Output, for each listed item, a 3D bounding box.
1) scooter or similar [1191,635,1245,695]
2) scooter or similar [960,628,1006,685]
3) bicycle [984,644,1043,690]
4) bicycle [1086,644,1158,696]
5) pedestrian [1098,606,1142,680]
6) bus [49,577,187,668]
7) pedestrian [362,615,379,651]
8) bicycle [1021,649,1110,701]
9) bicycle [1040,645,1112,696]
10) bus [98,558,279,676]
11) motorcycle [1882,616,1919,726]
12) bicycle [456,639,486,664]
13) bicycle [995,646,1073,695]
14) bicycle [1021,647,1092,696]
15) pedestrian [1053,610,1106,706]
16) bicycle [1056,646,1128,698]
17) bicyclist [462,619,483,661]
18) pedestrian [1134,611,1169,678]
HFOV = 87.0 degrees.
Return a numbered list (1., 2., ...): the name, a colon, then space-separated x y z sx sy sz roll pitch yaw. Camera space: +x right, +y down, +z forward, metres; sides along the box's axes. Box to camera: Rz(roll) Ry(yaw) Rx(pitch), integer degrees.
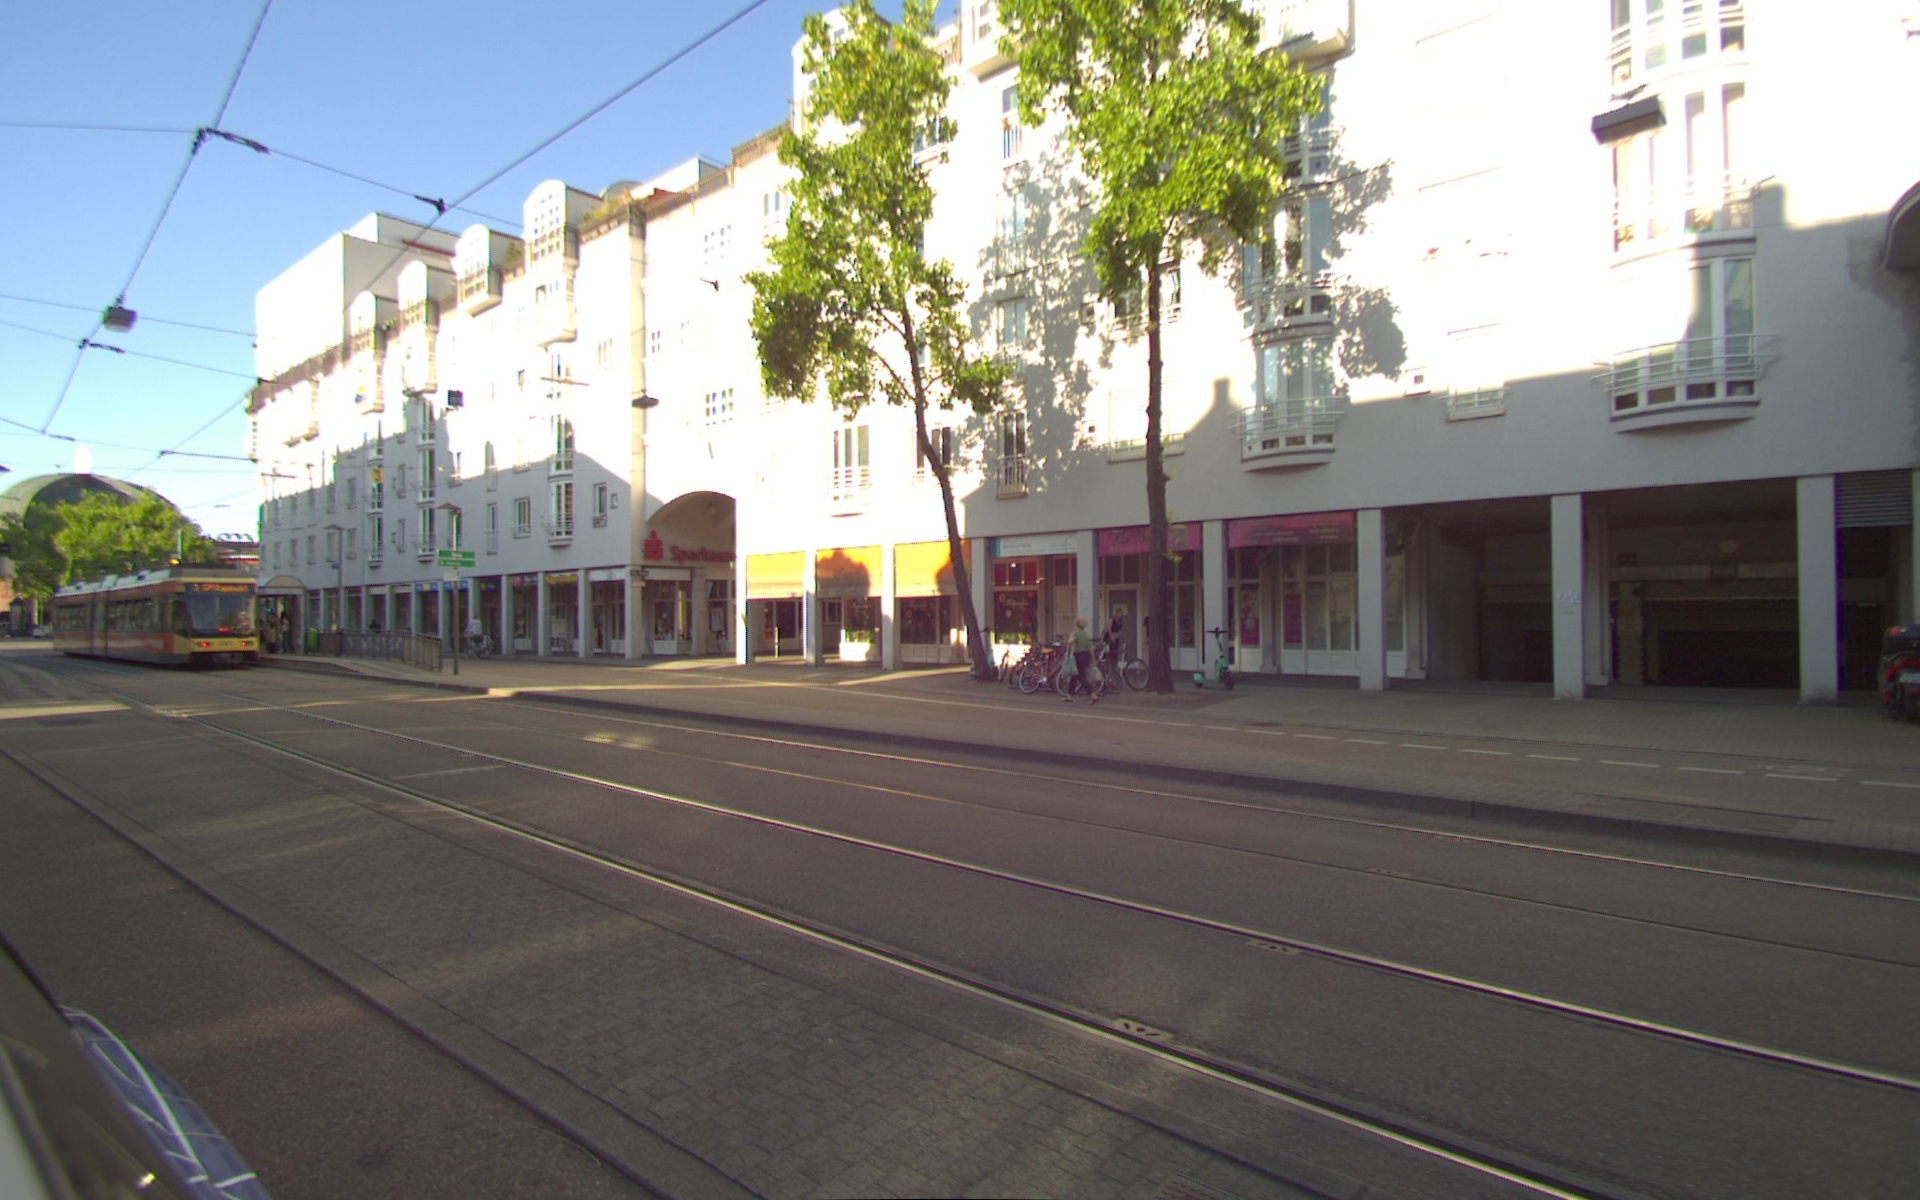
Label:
1. scooter or similar: 5.081 1.264 19.952 0.330 1.120 1.184 0 -1 -26
2. scooter or similar: 0.528 1.319 23.773 0.372 1.288 1.182 -3 0 -37
3. bicycle: 1.226 1.488 22.863 0.418 0.919 1.755 -2 0 37
4. bicycle: 3.263 1.390 20.295 1.823 0.919 0.390 -1 0 -44
5. pedestrian: 3.834 1.024 24.303 0.825 1.729 0.623 -2 -2 43
6. bus: -38.119 1.056 45.536 13.674 3.595 2.781 -2 -2 42
7. pedestrian: -28.541 1.600 48.991 0.706 1.729 0.526 -2 -2 43
8. bicycle: 2.041 1.447 19.757 1.851 0.919 0.384 -2 0 43
9. bicycle: 2.429 1.448 21.019 1.823 0.919 0.390 -1 0 -44
10. bus: -28.135 0.684 36.482 13.676 3.595 2.781 -2 -2 42
11. motorcycle: 12.428 0.886 13.102 0.561 1.288 1.738 -3 0 38
12. bicycle: -20.686 2.175 42.806 1.726 0.996 0.511 -2 0 42
13. bicycle: 1.598 1.478 21.580 1.821 0.919 0.390 -1 0 -36
14. bicycle: 2.049 1.487 21.311 1.823 0.919 0.390 -1 0 -44
15. pedestrian: 2.196 1.049 18.657 0.621 1.729 0.828 0 -2 -21
16. bicycle: 2.717 1.457 20.723 1.823 0.919 0.390 -1 -1 -44
17. bicyclist: -20.550 1.688 42.679 0.807 1.713 0.508 -2 0 42
18. pedestrian: 4.670 1.074 24.691 0.632 1.588 0.553 -2 -2 43
